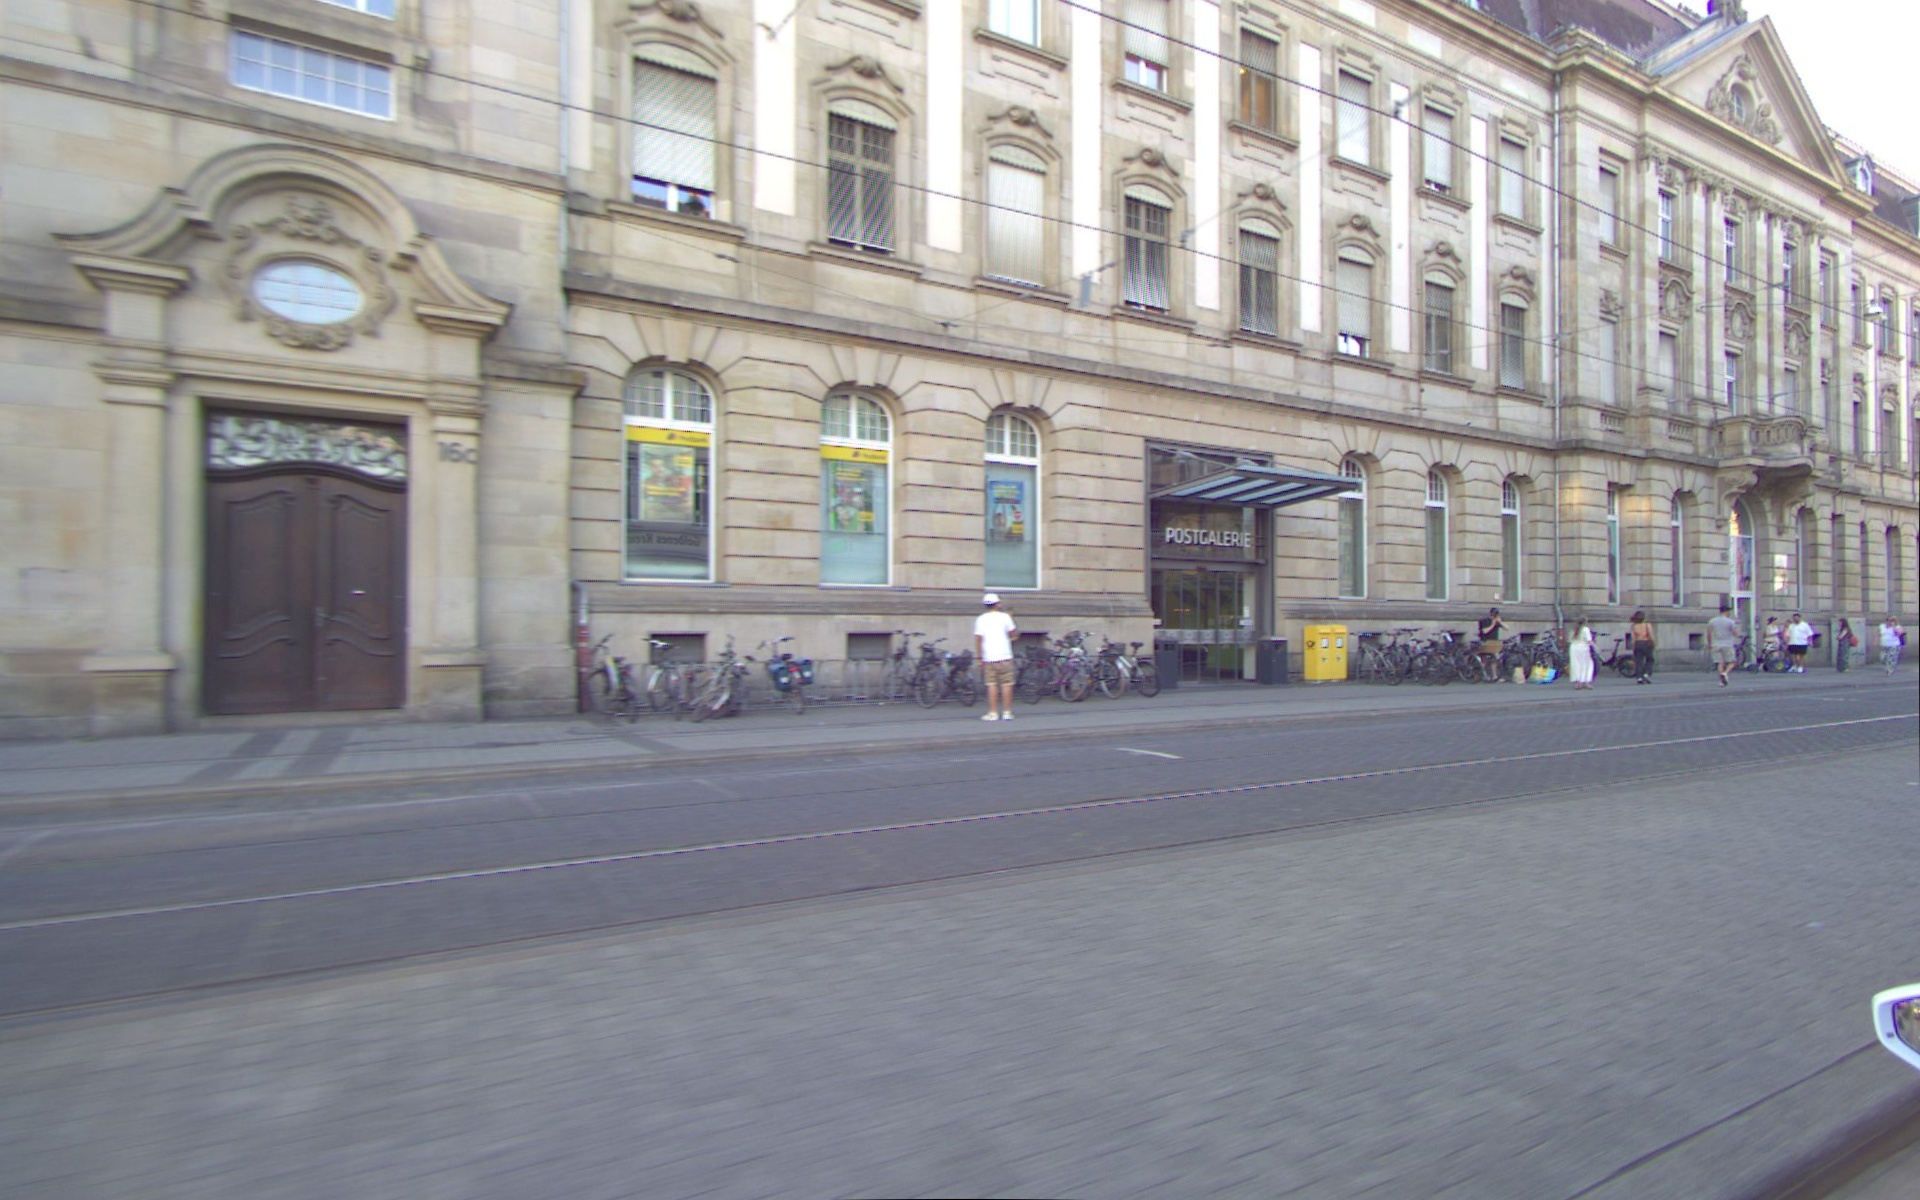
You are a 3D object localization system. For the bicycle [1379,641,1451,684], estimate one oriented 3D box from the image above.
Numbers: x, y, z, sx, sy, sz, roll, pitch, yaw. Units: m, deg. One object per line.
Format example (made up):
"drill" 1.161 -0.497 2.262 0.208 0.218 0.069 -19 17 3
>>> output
"bicycle" 10.313 1.393 22.802 0.445 0.885 1.571 1 -1 -25

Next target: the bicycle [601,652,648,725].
"bicycle" -4.684 1.200 13.974 0.445 0.885 1.571 1 -1 -25

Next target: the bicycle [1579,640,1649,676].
"bicycle" 17.554 1.538 26.988 0.445 0.885 1.571 1 -1 -25

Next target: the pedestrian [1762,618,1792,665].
"pedestrian" 25.487 1.295 31.354 0.560 1.459 0.441 1 0 7

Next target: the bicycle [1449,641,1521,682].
"bicycle" 12.401 1.436 23.758 0.445 0.885 1.571 1 -1 -25

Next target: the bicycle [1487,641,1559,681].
"bicycle" 13.698 1.466 24.475 0.445 0.885 1.571 1 -1 -25

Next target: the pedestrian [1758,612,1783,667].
"pedestrian" 24.562 1.193 30.430 0.597 1.664 0.334 1 0 -23

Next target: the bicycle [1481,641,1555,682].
"bicycle" 13.216 1.445 23.841 0.445 0.885 1.571 1 -1 -25

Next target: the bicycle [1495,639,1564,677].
"bicycle" 14.434 1.466 25.493 0.445 0.885 1.571 1 -1 -25

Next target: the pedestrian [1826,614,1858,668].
"pedestrian" 26.857 1.231 30.591 0.432 1.627 0.572 1 0 -3

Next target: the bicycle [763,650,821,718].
"bicycle" -2.517 1.226 14.933 0.445 0.885 1.571 1 -1 -25

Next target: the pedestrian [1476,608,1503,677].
"pedestrian" 12.796 1.018 24.275 0.423 1.655 0.363 1 0 -24

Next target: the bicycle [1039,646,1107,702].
"bicycle" 1.971 1.283 17.731 0.445 0.885 1.571 1 -1 -25

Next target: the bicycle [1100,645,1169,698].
"bicycle" 3.238 1.318 18.764 0.445 0.885 1.571 1 -1 -25

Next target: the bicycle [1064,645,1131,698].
"bicycle" 2.526 1.303 18.584 0.445 0.885 1.571 1 -1 -25

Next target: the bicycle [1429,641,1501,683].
"bicycle" 11.807 1.435 23.532 0.445 0.885 1.571 1 -1 -25

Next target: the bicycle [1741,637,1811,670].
"bicycle" 24.206 1.577 29.809 0.445 0.885 1.571 1 -1 -25

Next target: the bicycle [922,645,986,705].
"bicycle" -0.122 1.220 16.721 0.445 0.885 1.571 1 -1 -25

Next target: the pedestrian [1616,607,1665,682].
"pedestrian" 16.222 1.051 23.936 0.806 1.734 0.689 1 -1 -30

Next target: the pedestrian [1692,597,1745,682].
"pedestrian" 16.801 0.871 22.248 0.805 1.837 0.689 1 -1 -30

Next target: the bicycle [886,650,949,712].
"bicycle" -0.702 1.274 16.174 0.445 0.885 1.571 1 -1 -25

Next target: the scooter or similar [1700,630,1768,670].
"scooter or similar" 22.602 1.452 29.354 0.445 1.082 1.542 1 0 -25

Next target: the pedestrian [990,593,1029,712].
"pedestrian" 0.717 0.760 14.649 0.484 1.695 0.376 1 0 -9

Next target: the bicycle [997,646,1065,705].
"bicycle" 1.186 1.261 17.121 0.445 0.885 1.571 1 -1 -25

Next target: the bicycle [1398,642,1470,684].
"bicycle" 10.841 1.424 23.041 0.445 0.885 1.571 1 -1 -25

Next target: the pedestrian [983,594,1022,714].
"pedestrian" 0.602 0.752 14.131 0.483 1.653 0.376 1 0 10

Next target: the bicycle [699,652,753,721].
"bicycle" -3.445 1.232 14.711 0.445 0.885 1.571 1 -1 -25

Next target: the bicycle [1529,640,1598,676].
"bicycle" 15.796 1.507 26.345 0.445 0.885 1.571 1 -1 -25

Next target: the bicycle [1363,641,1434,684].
"bicycle" 9.778 1.379 22.450 0.445 0.885 1.571 1 -1 -25

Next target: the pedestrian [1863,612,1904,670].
"pedestrian" 25.324 1.115 27.538 0.672 1.582 0.656 1 -1 -30

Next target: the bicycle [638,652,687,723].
"bicycle" -4.241 1.212 14.272 0.445 0.885 1.571 1 -1 -25

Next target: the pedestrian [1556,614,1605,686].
"pedestrian" 13.069 1.032 21.161 0.549 1.486 0.689 1 -1 -30

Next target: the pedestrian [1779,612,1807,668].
"pedestrian" 24.992 1.202 30.143 0.556 1.664 0.473 1 0 -30
